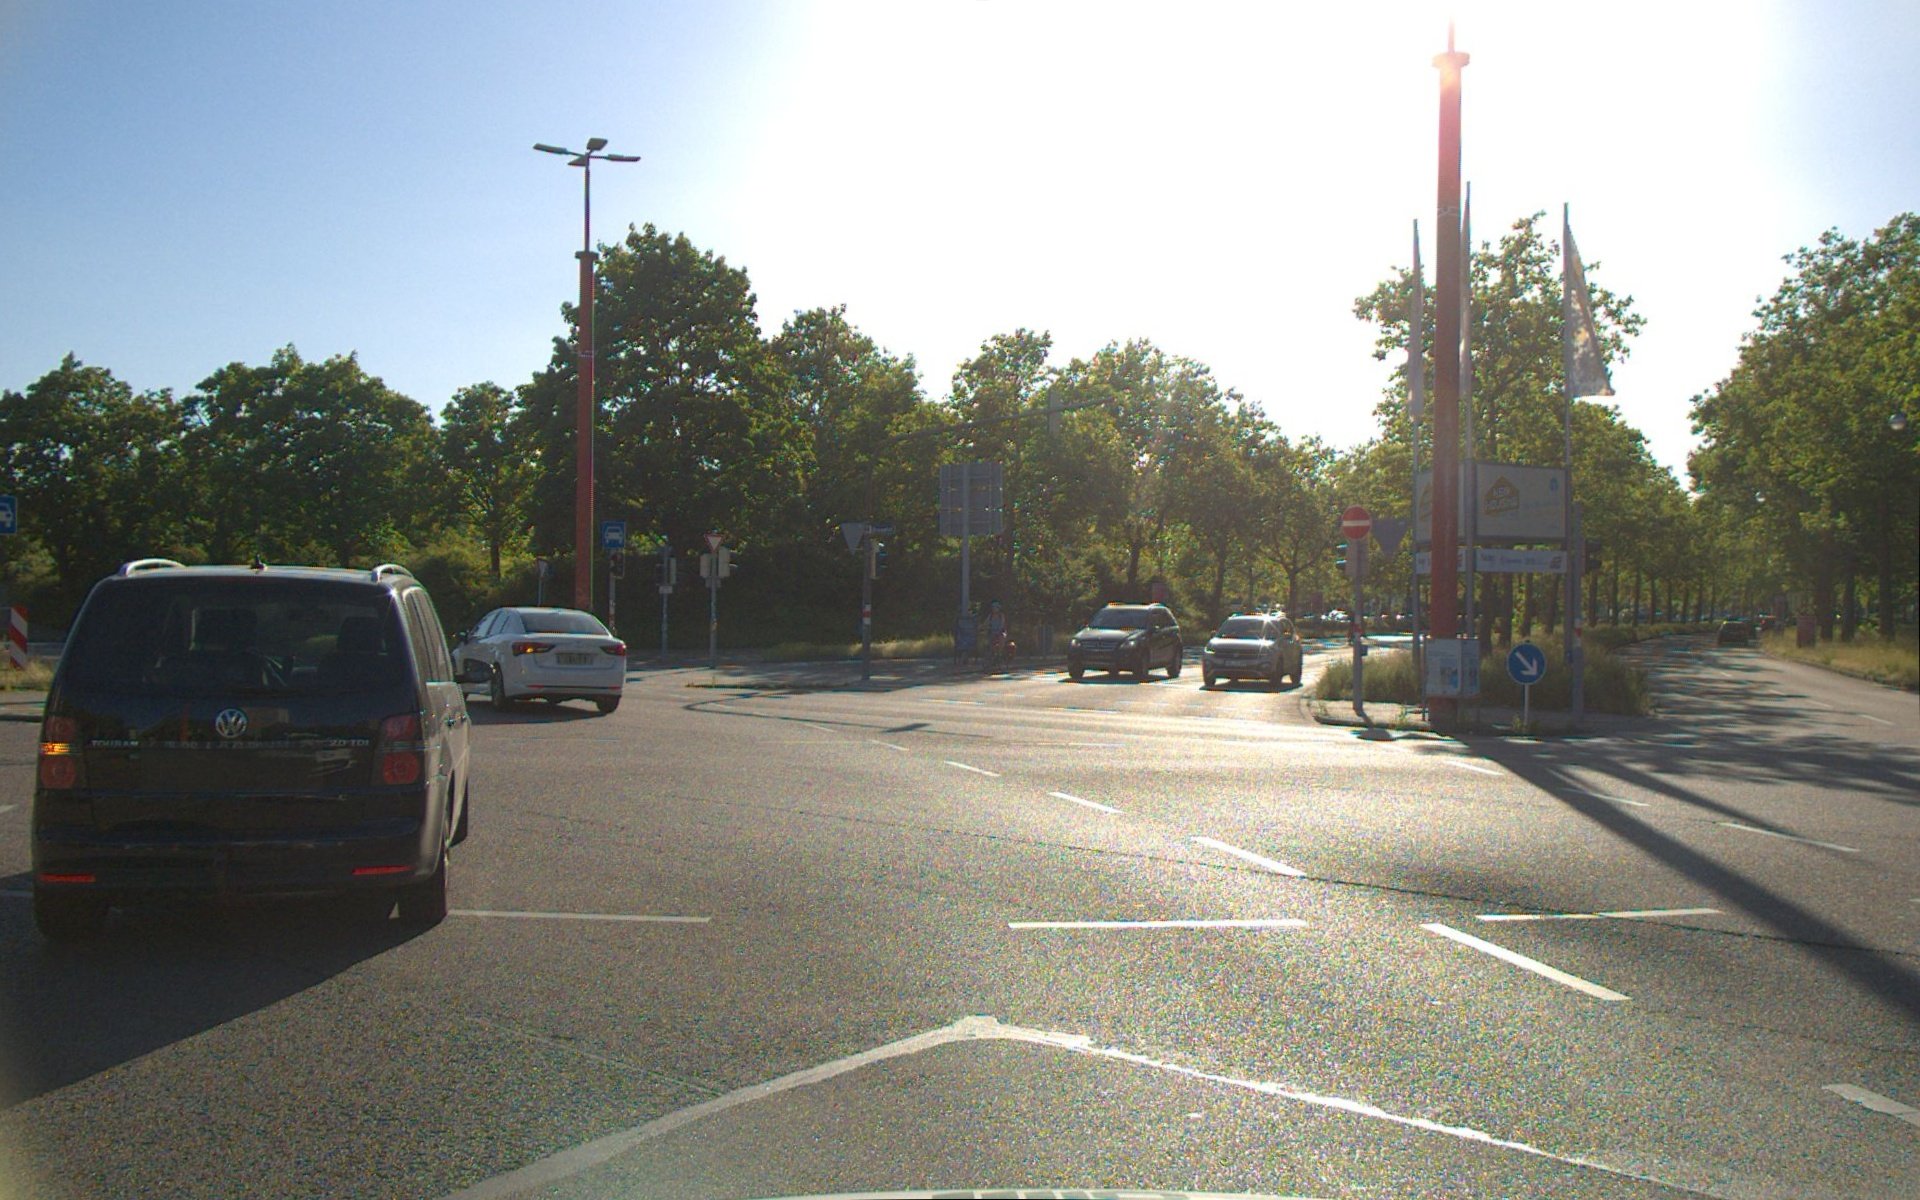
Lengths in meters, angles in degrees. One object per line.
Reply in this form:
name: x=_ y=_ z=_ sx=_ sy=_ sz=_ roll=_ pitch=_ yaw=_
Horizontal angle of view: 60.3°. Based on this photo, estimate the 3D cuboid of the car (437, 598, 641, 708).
car: x=-6.361 y=0.728 z=24.650 sx=1.750 sy=1.489 sz=4.319 roll=1 pitch=-1 yaw=-31

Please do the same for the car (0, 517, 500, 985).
car: x=-3.387 y=0.562 z=8.463 sx=1.737 sy=1.673 sz=4.906 roll=1 pitch=-1 yaw=-13

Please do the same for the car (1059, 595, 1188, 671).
car: x=4.140 y=0.809 z=41.182 sx=1.864 sy=1.757 sz=4.651 roll=1 pitch=-1 yaw=23

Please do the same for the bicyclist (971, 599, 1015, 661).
bicyclist: x=0.848 y=0.762 z=42.477 sx=0.745 sy=1.585 sz=0.979 roll=0 pitch=0 yaw=30

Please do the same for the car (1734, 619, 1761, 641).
car: x=63.701 y=2.421 z=133.758 sx=1.836 sy=1.655 sz=3.994 roll=2 pitch=-1 yaw=28

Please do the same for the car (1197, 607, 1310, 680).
car: x=6.820 y=0.974 z=38.155 sx=1.731 sy=1.565 sz=4.090 roll=1 pitch=-1 yaw=22

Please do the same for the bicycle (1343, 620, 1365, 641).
bicycle: x=20.700 y=1.604 z=86.871 sx=0.721 sy=1.110 sz=2.013 roll=0 pitch=-1 yaw=27

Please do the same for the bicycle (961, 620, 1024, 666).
bicycle: x=0.852 y=1.089 z=42.481 sx=0.749 sy=1.110 sz=2.011 roll=0 pitch=0 yaw=30

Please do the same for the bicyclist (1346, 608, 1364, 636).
bicyclist: x=20.756 y=1.176 z=86.986 sx=0.721 sy=1.462 sz=0.964 roll=0 pitch=-1 yaw=27

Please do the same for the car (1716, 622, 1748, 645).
car: x=48.743 y=2.106 z=104.377 sx=1.755 sy=1.412 sz=4.045 roll=2 pitch=0 yaw=26
